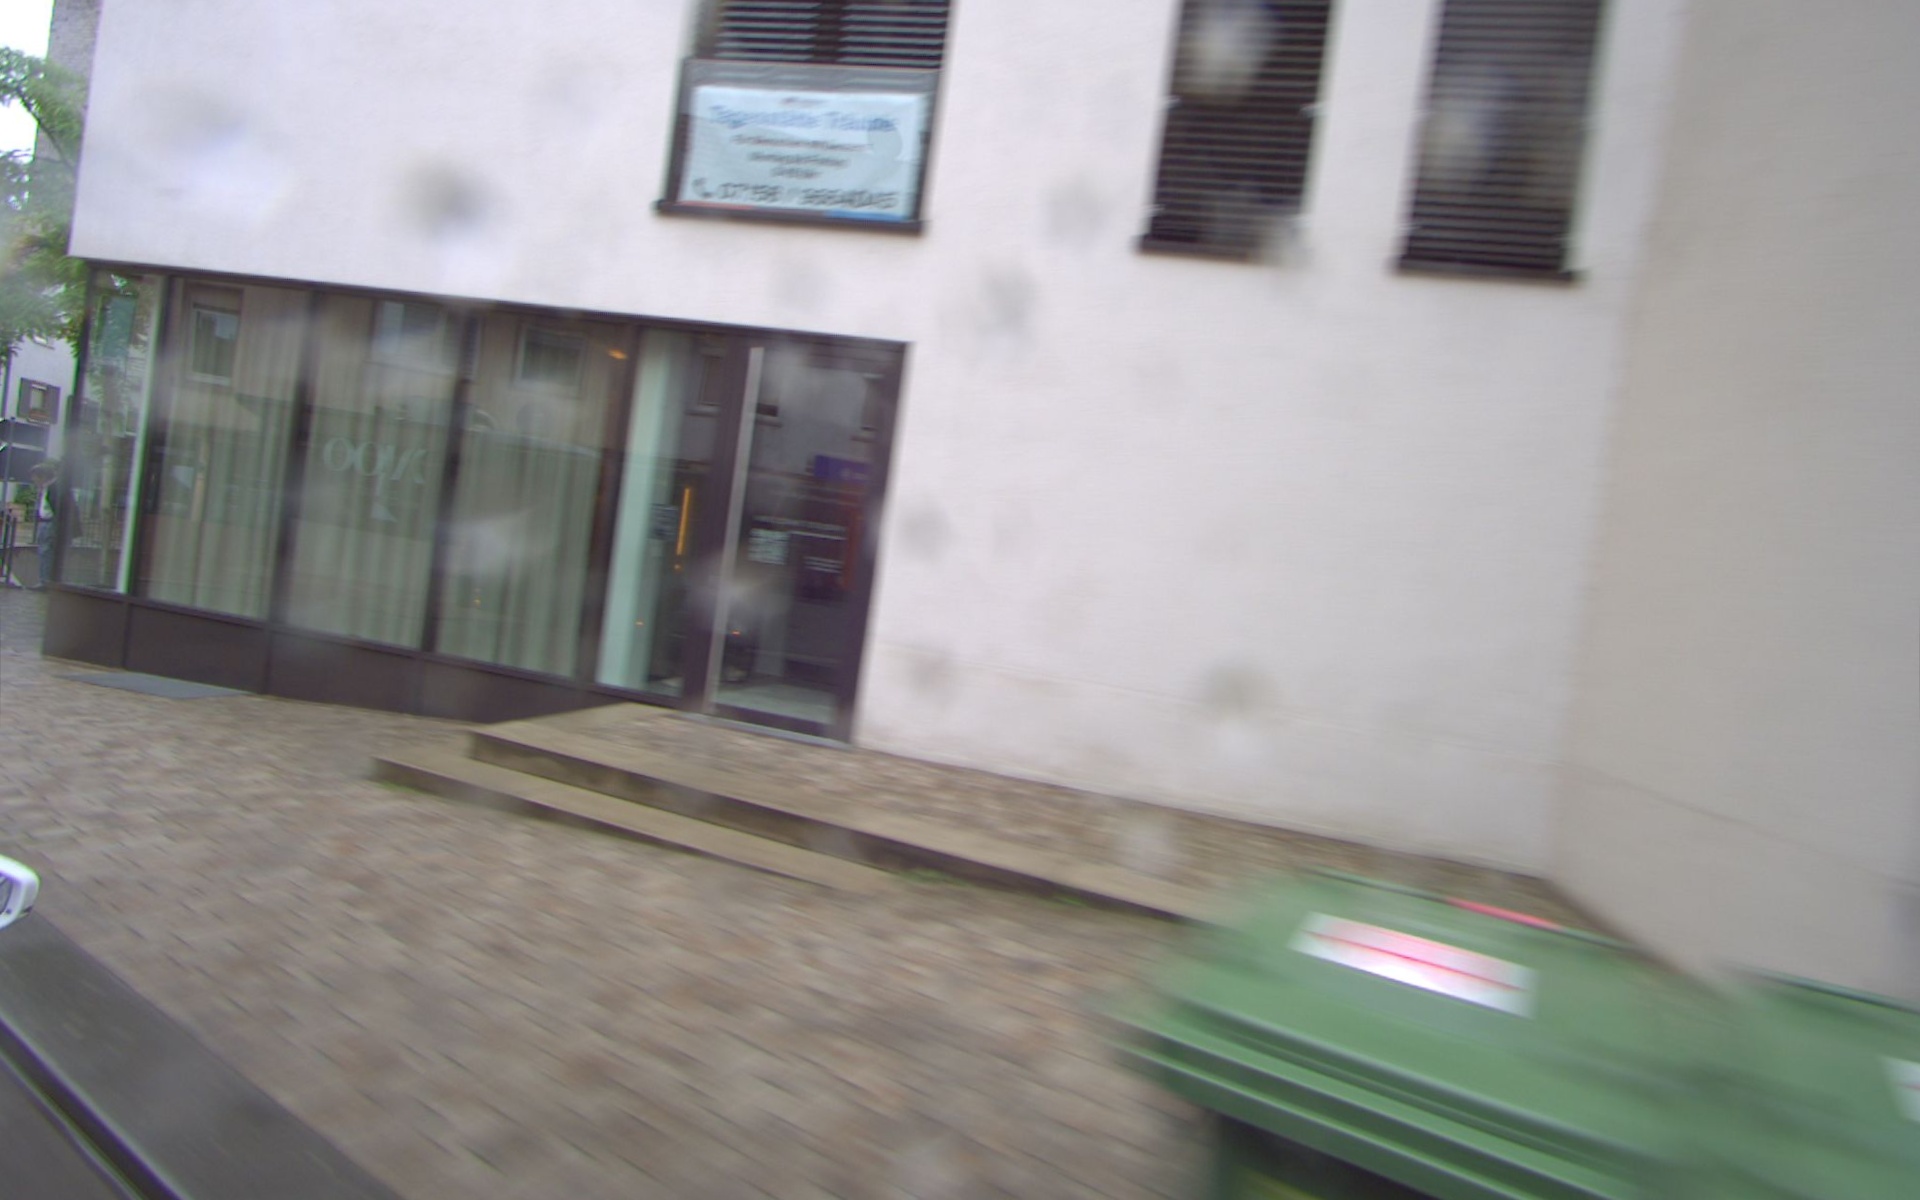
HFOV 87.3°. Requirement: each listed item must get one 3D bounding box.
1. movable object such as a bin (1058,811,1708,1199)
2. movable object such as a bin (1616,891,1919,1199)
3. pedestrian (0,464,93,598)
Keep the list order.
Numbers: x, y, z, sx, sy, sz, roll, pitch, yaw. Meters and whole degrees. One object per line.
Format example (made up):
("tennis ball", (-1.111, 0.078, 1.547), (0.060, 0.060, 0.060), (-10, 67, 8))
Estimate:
("movable object such as a bin", (0.513, 0.935, 1.325), (0.567, 1.131, 0.725), (8, 0, 31))
("movable object such as a bin", (1.010, 0.989, 1.026), (0.567, 1.131, 0.725), (8, 0, 31))
("pedestrian", (-11.821, -0.886, 13.021), (0.691, 1.627, 0.583), (7, 2, 24))
